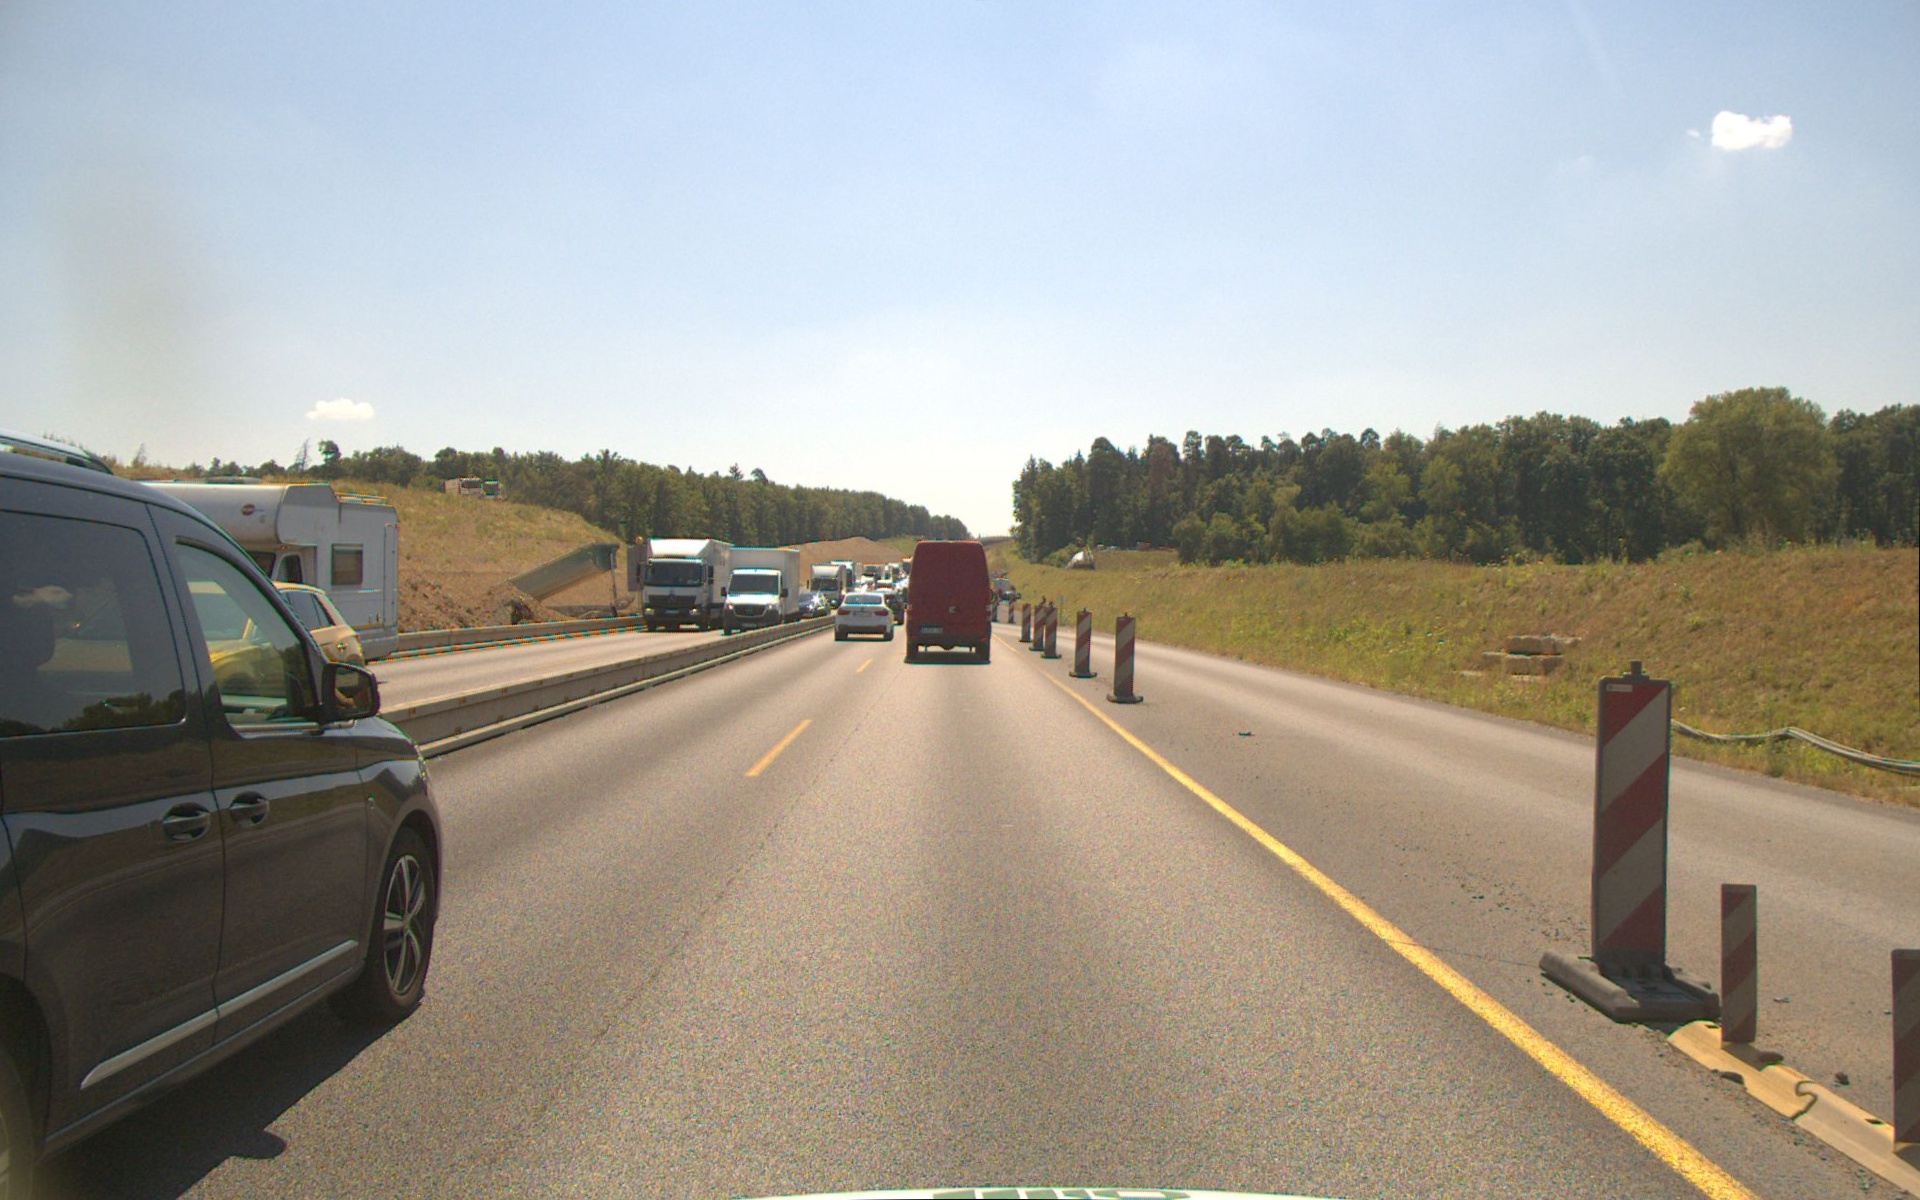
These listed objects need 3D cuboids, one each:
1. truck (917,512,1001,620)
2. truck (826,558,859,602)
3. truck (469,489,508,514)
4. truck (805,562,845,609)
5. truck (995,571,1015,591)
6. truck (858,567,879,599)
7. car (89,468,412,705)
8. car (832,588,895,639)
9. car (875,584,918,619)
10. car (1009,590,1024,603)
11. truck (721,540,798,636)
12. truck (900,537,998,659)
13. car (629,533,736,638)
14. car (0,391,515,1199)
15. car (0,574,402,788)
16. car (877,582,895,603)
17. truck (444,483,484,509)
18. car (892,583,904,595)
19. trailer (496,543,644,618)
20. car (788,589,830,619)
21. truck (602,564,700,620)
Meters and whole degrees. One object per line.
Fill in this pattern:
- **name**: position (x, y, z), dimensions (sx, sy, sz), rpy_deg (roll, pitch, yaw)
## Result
- **truck**: position (-0.134, -1.773, 95.207), dimensions (4.310, 5.592, 16.600), rpy_deg (1, 0, -1)
- **truck**: position (-11.150, -1.881, 157.298), dimensions (2.791, 4.088, 4.858), rpy_deg (-1, 0, -1)
- **truck**: position (-63.752, -13.272, 223.450), dimensions (2.277, 2.797, 8.793), rpy_deg (1, 0, -36)
- **truck**: position (-11.184, -1.161, 137.858), dimensions (2.591, 3.781, 9.480), rpy_deg (1, 0, -1)
- **truck**: position (5.816, -2.478, 211.977), dimensions (2.084, 2.499, 5.930), rpy_deg (1, 1, 6)
- **truck**: position (-12.624, -2.371, 229.022), dimensions (2.440, 4.272, 5.913), rpy_deg (-1, 0, 1)
- **car**: position (-10.068, -0.162, 24.145), dimensions (2.205, 3.007, 5.847), rpy_deg (1, 0, -1)
- **car**: position (-3.054, 0.424, 52.866), dimensions (1.794, 1.548, 3.960), rpy_deg (1, 0, -1)
- **car**: position (-2.998, 0.065, 79.060), dimensions (1.927, 1.568, 4.311), rpy_deg (1, 1, -1)
- **car**: position (6.603, -0.400, 194.063), dimensions (1.620, 1.451, 4.545), rpy_deg (-2, 1, 0)
- **truck**: position (-7.130, -0.402, 59.524), dimensions (2.226, 3.205, 7.309), rpy_deg (1, 0, -3)
- **truck**: position (-0.264, -0.032, 38.949), dimensions (2.109, 2.635, 5.332), rpy_deg (1, 0, -1)
- **car**: position (-10.692, -0.581, 64.522), dimensions (2.849, 3.805, 8.089), rpy_deg (1, 1, -1)
- **car**: position (-2.692, 0.500, 4.457), dimensions (1.716, 1.856, 4.782), rpy_deg (1, 1, -1)
- **car**: position (-6.593, 0.601, 14.731), dimensions (1.725, 1.601, 4.362), rpy_deg (1, 0, 0)
- **car**: position (-8.520, -0.932, 190.118), dimensions (1.953, 2.332, 5.342), rpy_deg (1, 1, -2)
- **truck**: position (-64.570, -13.521, 215.309), dimensions (2.335, 2.949, 8.261), rpy_deg (1, 0, -36)
- **car**: position (-8.854, -1.516, 236.977), dimensions (1.654, 1.642, 4.592), rpy_deg (1, 0, -1)
- **trailer**: position (-22.556, -1.110, 95.572), dimensions (8.172, 4.170, 2.799), rpy_deg (1, 0, 22)
- **car**: position (-7.674, 0.207, 84.520), dimensions (1.752, 1.508, 4.560), rpy_deg (1, 0, -1)
- **truck**: position (-17.736, -0.433, 95.025), dimensions (2.541, 3.016, 5.032), rpy_deg (1, -1, 42)
